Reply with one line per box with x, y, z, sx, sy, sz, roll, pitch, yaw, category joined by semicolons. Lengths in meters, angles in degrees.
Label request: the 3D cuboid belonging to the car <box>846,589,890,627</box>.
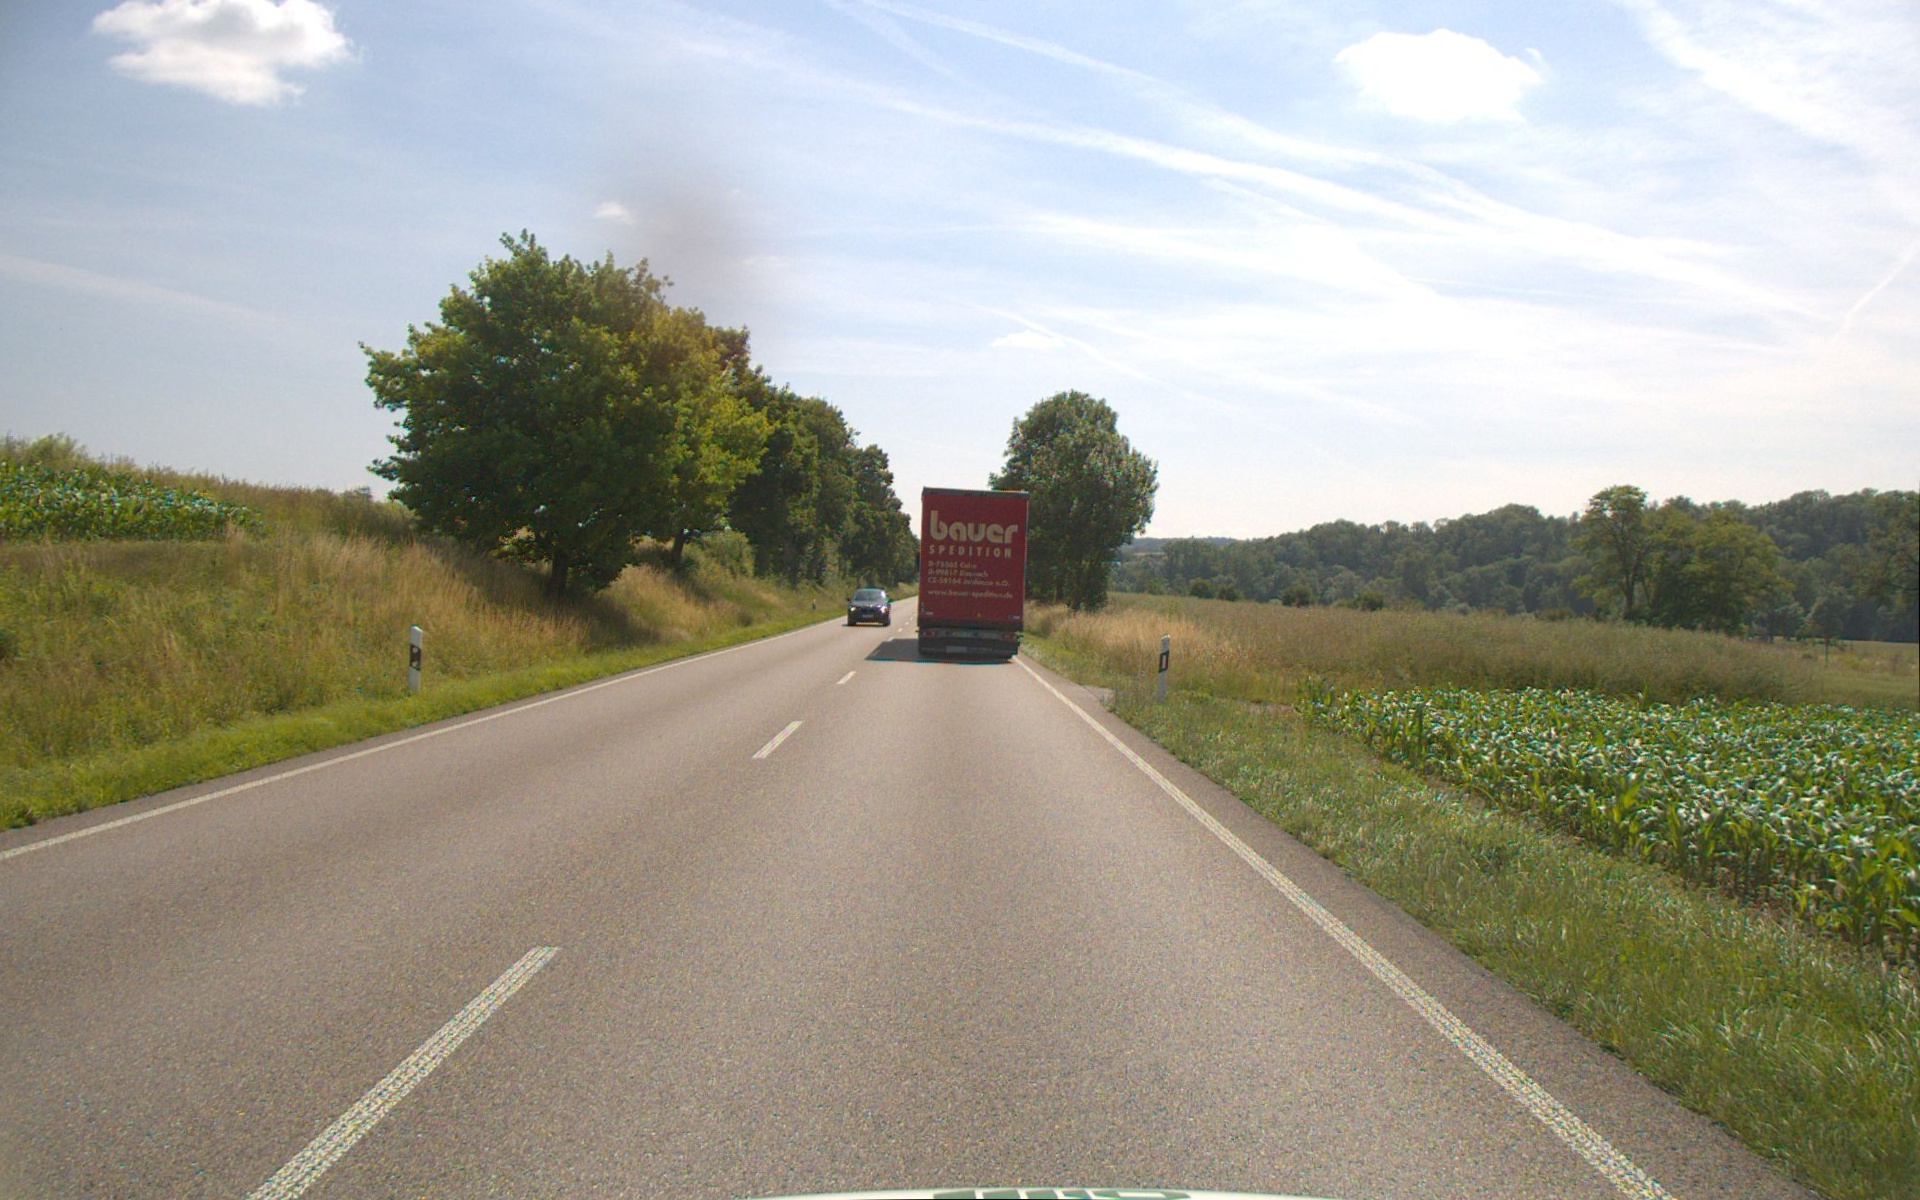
-3.907;0.330;70.756;1.622;1.561;4.357;1;0;-1;car

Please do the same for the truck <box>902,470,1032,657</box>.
0.137;-0.822;42.581;3.031;4.337;8.313;0;-1;0;truck
